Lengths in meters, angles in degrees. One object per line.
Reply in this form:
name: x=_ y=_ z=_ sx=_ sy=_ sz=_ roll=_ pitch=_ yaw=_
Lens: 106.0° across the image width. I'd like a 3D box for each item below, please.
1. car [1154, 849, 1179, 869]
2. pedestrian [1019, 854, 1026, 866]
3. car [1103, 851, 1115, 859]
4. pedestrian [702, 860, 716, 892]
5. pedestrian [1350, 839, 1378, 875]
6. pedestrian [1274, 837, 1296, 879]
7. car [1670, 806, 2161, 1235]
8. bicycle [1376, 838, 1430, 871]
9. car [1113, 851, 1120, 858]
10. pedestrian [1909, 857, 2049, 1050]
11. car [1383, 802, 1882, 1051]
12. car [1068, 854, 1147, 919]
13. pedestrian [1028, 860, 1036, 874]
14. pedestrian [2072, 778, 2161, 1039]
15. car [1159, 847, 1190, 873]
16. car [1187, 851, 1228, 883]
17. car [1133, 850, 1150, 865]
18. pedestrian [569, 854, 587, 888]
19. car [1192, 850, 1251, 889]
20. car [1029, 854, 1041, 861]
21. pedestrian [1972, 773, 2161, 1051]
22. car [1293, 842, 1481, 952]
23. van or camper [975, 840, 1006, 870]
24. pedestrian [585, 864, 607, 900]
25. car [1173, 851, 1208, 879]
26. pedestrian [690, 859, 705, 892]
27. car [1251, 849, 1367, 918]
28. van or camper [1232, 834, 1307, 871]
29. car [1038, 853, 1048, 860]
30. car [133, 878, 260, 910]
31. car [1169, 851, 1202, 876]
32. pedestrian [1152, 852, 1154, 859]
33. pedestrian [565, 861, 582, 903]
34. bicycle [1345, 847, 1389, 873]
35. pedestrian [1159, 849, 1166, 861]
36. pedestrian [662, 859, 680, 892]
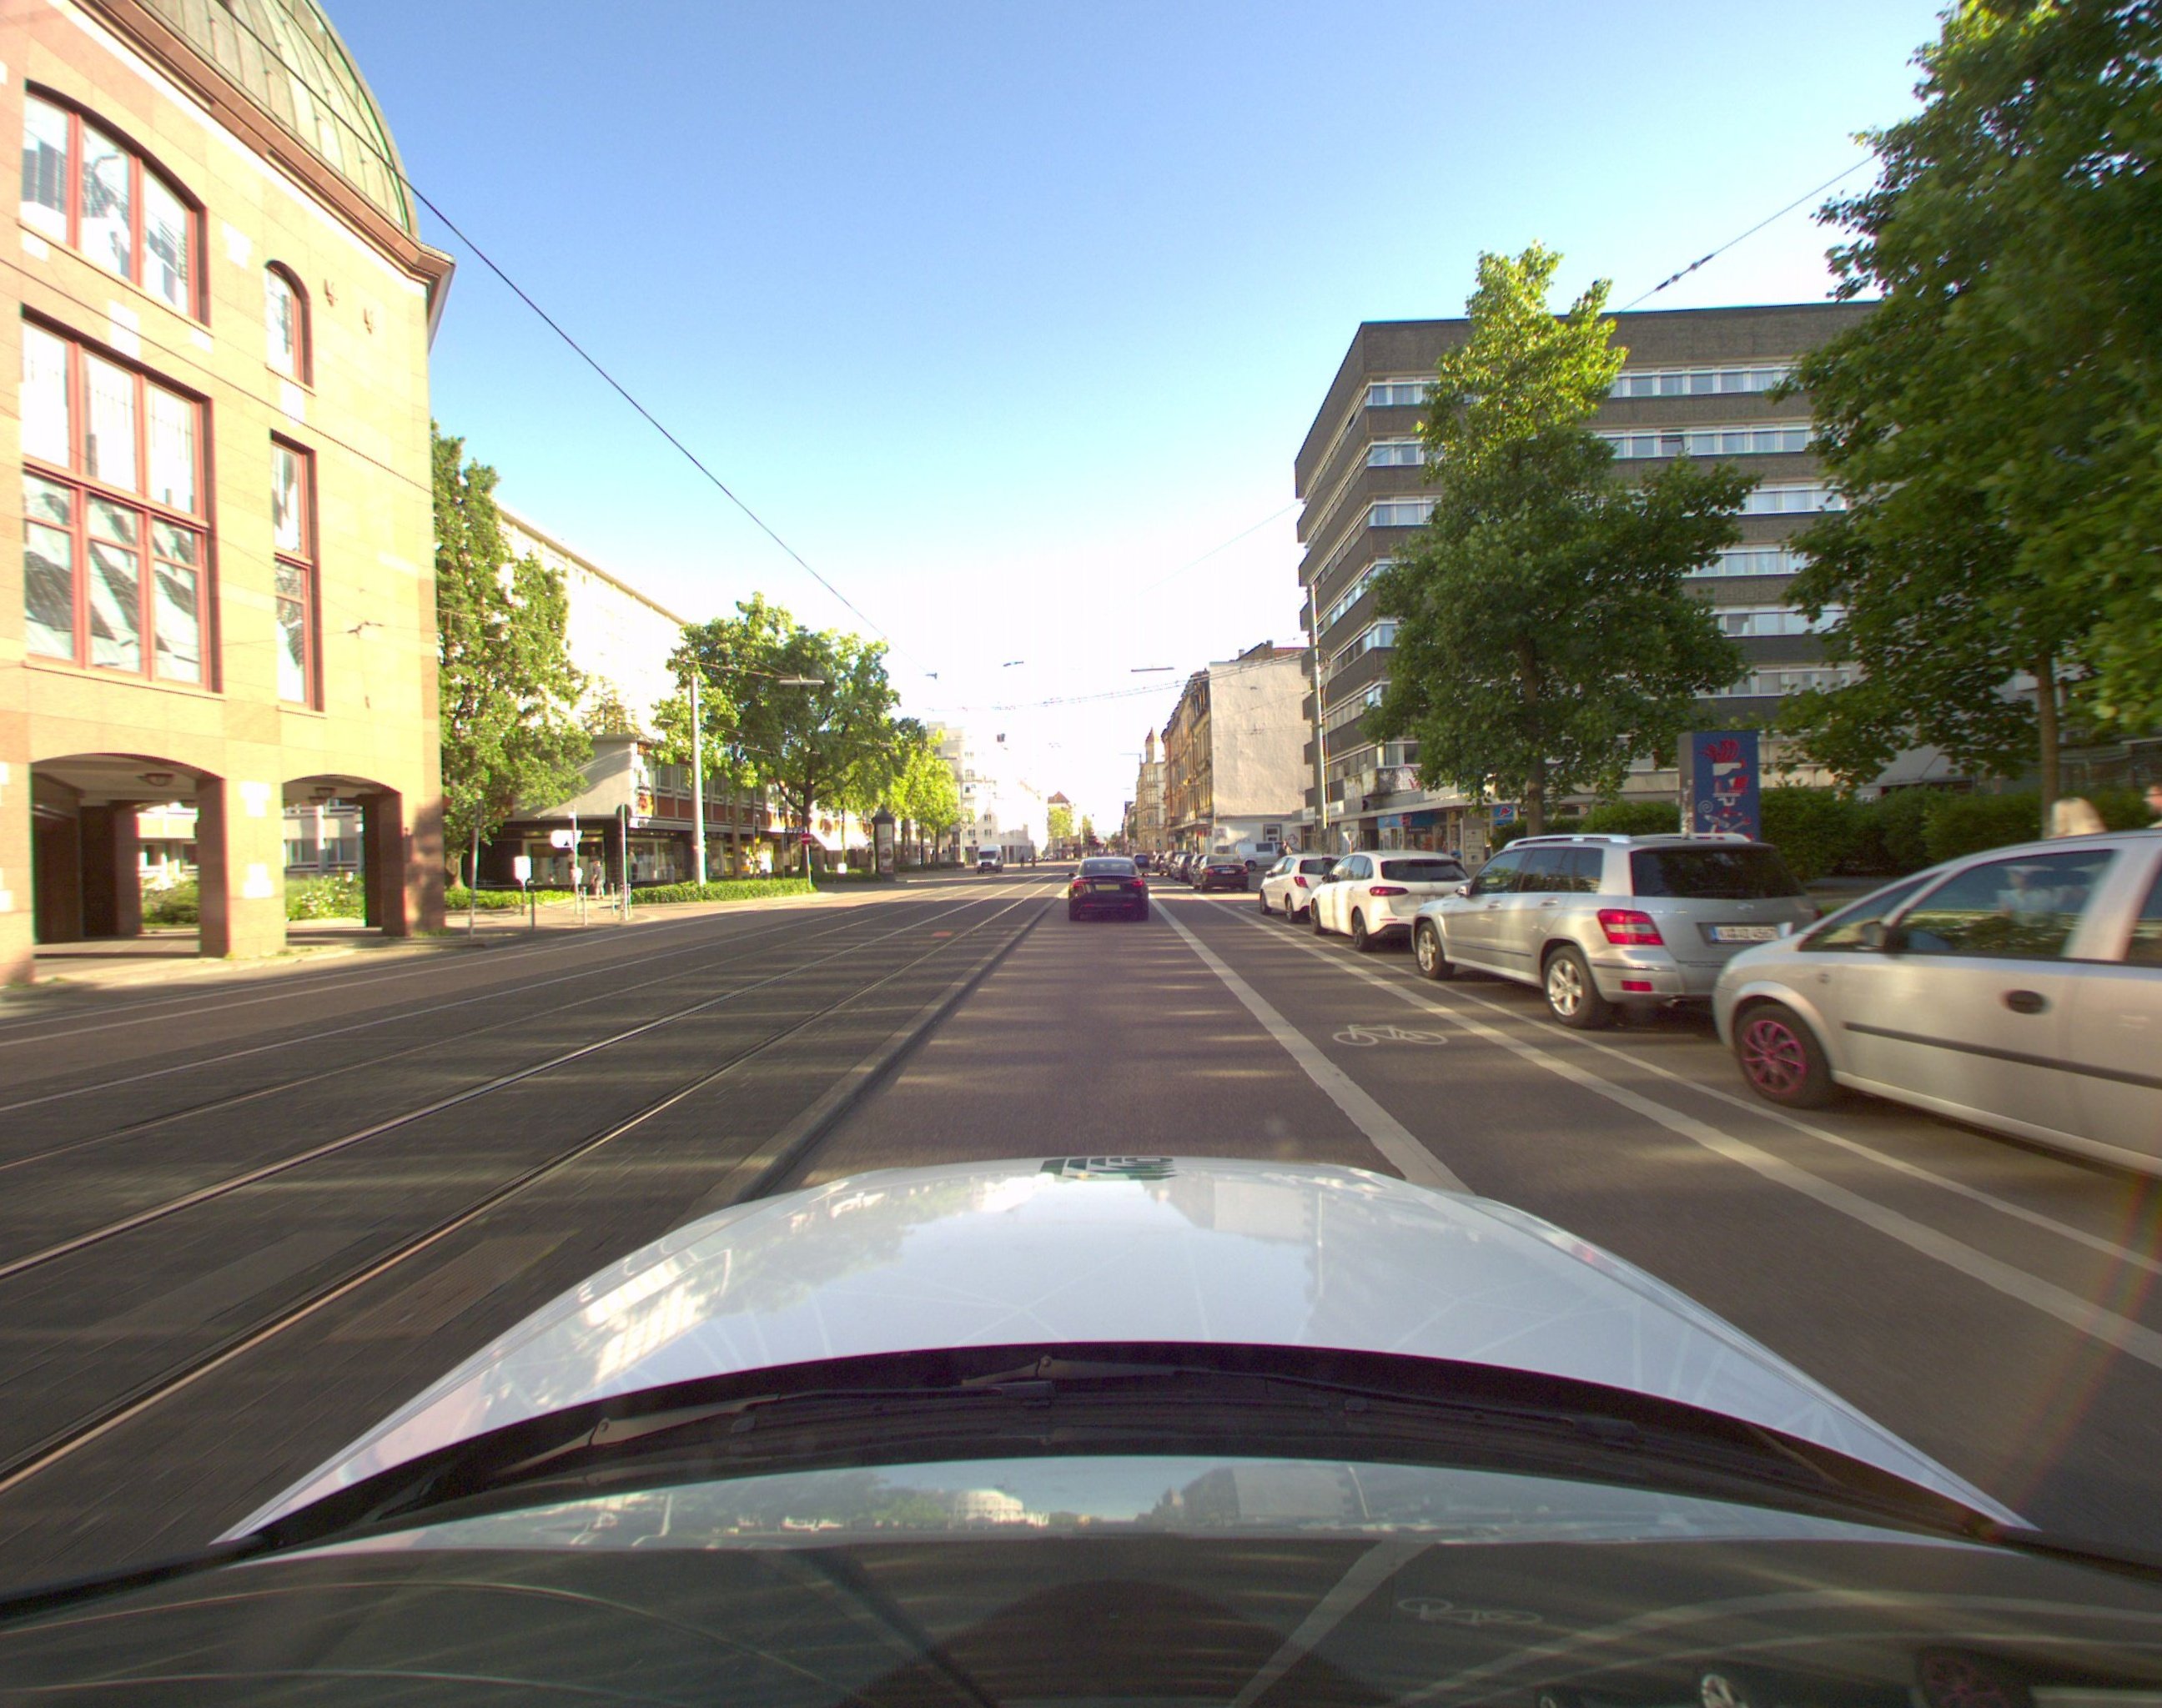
car: x=6.800 y=0.417 z=65.174 sx=1.708 sy=1.472 sz=3.722 roll=-2 pitch=-1 yaw=3
pedestrian: x=-7.312 y=0.732 z=101.813 sx=0.699 sy=1.501 sz=0.795 roll=-1 pitch=-1 yaw=2
car: x=5.380 y=0.188 z=157.250 sx=1.989 sy=1.525 sz=3.996 roll=0 pitch=-1 yaw=-2
pedestrian: x=-21.321 y=1.244 z=46.706 sx=0.545 sy=1.801 sz=0.587 roll=0 pitch=0 yaw=-7
pedestrian: x=13.994 y=0.152 z=40.269 sx=1.143 sy=1.728 sz=1.050 roll=-2 pitch=0 yaw=26
pedestrian: x=9.025 y=0.167 z=35.981 sx=0.719 sy=1.812 sz=0.889 roll=-2 pitch=-1 yaw=2
car: x=4.873 y=0.620 z=3.556 sx=1.708 sy=1.590 sz=4.065 roll=0 pitch=0 yaw=0
bicycle: x=11.672 y=0.023 z=29.540 sx=1.673 sy=1.140 sz=0.579 roll=-2 pitch=-1 yaw=5
car: x=9.702 y=0.134 z=221.109 sx=1.838 sy=1.592 sz=4.003 roll=-2 pitch=0 yaw=2
pedestrian: x=6.913 y=0.745 z=6.289 sx=0.453 sy=1.398 sz=0.423 roll=-6 pitch=-1 yaw=6
car: x=4.978 y=0.527 z=8.398 sx=1.919 sy=1.834 sz=4.710 roll=0 pitch=0 yaw=-1
car: x=0.605 y=0.706 z=19.646 sx=1.714 sy=1.405 sz=3.710 roll=0 pitch=0 yaw=1
pedestrian: x=-5.946 y=1.601 z=98.918 sx=0.839 sy=1.695 sz=0.798 roll=0 pitch=0 yaw=9
pedestrian: x=8.142 y=0.378 z=5.976 sx=0.665 sy=1.897 sz=0.749 roll=-5 pitch=-1 yaw=7
car: x=6.213 y=0.410 z=54.415 sx=1.822 sy=1.628 sz=4.097 roll=-1 pitch=-1 yaw=3
car: x=5.991 y=0.623 z=38.713 sx=1.572 sy=1.447 sz=3.311 roll=-1 pitch=-1 yaw=3
car: x=6.111 y=0.350 z=82.961 sx=1.587 sy=1.433 sz=3.688 roll=-2 pitch=-1 yaw=3
pedestrian: x=-26.586 y=0.902 z=43.087 sx=0.589 sy=1.784 sz=0.538 roll=0 pitch=0 yaw=2
car: x=5.524 y=0.589 z=32.586 sx=1.704 sy=1.457 sz=4.552 roll=0 pitch=-1 yaw=2
car: x=-9.327 y=0.714 z=166.196 sx=1.986 sy=1.368 sz=4.002 roll=-2 pitch=-1 yaw=2
pedestrian: x=7.481 y=0.414 z=6.186 sx=0.462 sy=1.954 sz=0.749 roll=-5 pitch=-1 yaw=7
car: x=4.928 y=0.616 z=13.786 sx=1.536 sy=1.570 sz=4.442 roll=0 pitch=0 yaw=0
van or camper: x=-8.599 y=0.111 z=77.873 sx=2.133 sy=2.654 sz=6.878 roll=-2 pitch=-1 yaw=0
pedestrian: x=-23.640 y=1.376 z=39.715 sx=0.517 sy=1.694 sz=0.714 roll=-2 pitch=0 yaw=25
car: x=5.887 y=0.589 z=44.261 sx=1.456 sy=1.432 sz=3.814 roll=-1 pitch=-1 yaw=1
pedestrian: x=-21.951 y=1.223 z=46.638 sx=0.590 sy=1.872 sz=0.537 roll=0 pitch=0 yaw=-7
car: x=5.229 y=0.642 z=19.180 sx=1.597 sy=1.443 sz=3.883 roll=1 pitch=-1 yaw=-1
van or camper: x=12.806 y=-0.080 z=55.542 sx=4.621 sy=2.136 sz=1.990 roll=-4 pitch=-1 yaw=5
car: x=-8.912 y=0.653 z=190.608 sx=1.986 sy=1.495 sz=4.002 roll=-2 pitch=0 yaw=2
car: x=-51.886 y=2.307 z=47.970 sx=1.990 sy=1.554 sz=5.197 roll=0 pitch=0 yaw=-4
car: x=6.272 y=0.566 z=49.376 sx=1.573 sy=1.444 sz=3.914 roll=-1 pitch=-1 yaw=1
pedestrian: x=12.761 y=0.265 z=144.438 sx=0.439 sy=1.221 sz=0.389 roll=-2 pitch=0 yaw=1
pedestrian: x=-25.466 y=1.380 z=40.841 sx=0.607 sy=2.066 sz=0.660 roll=1 pitch=0 yaw=-43
bicycle: x=13.892 y=0.296 z=39.557 sx=2.189 sy=1.219 sz=0.797 roll=0 pitch=-1 yaw=-31
pedestrian: x=10.475 y=0.121 z=104.265 sx=0.746 sy=1.617 sz=0.706 roll=-2 pitch=-1 yaw=-1
pedestrian: x=-22.930 y=1.212 z=45.560 sx=0.624 sy=1.847 sz=0.673 roll=0 pitch=0 yaw=-1
